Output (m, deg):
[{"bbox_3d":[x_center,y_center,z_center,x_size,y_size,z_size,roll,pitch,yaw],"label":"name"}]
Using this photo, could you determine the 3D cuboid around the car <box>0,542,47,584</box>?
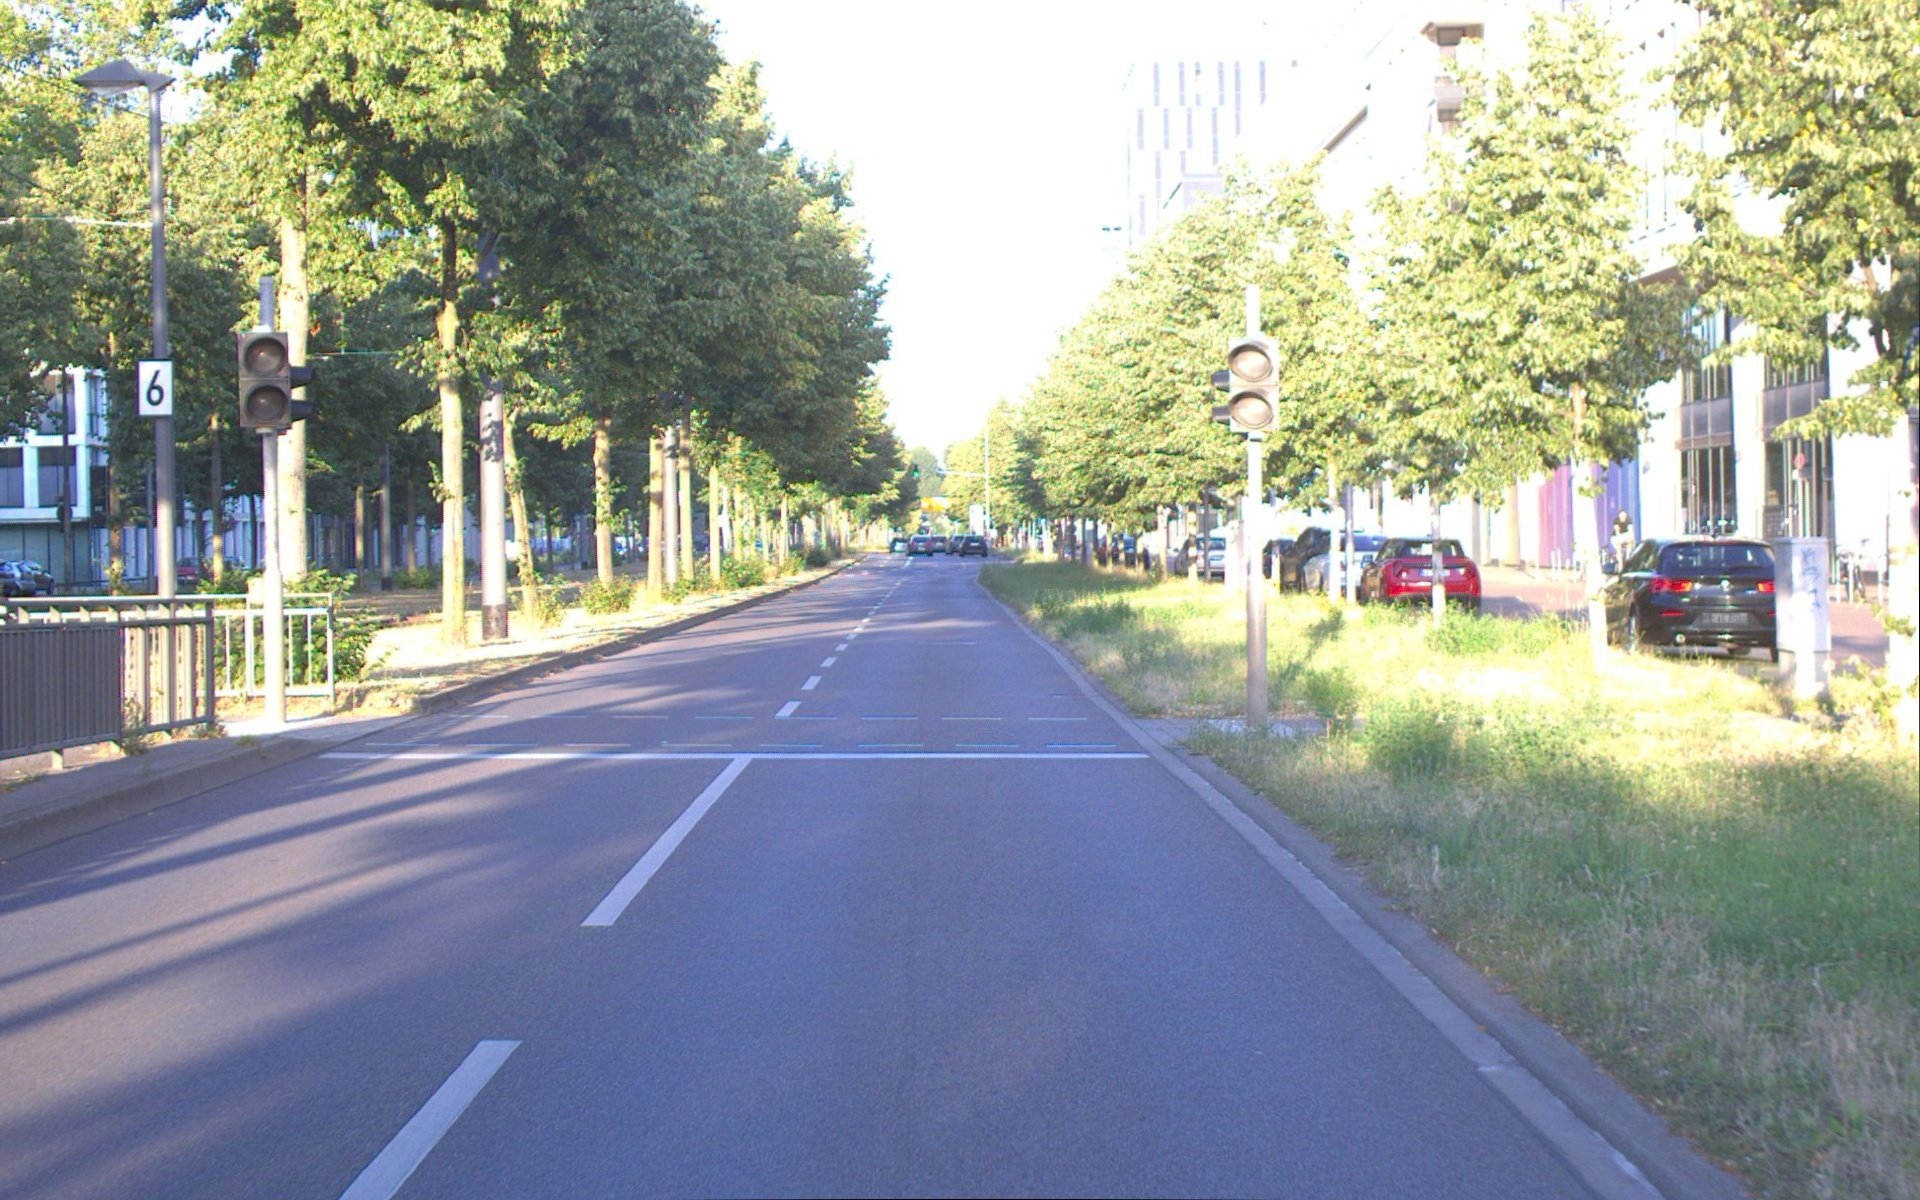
[{"bbox_3d":[-38.869,-1.460,137.985,3.986,1.634,1.922,-1,1,-3],"label":"car"}]

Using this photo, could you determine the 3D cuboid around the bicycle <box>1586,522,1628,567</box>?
[{"bbox_3d":[15.350,-1.313,81.646,0.533,1.056,1.613,-1,1,-6],"label":"bicycle"}]

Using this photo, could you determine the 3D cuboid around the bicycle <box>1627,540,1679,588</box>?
[{"bbox_3d":[15.249,-0.803,75.672,0.620,1.029,2.261,-1,1,-2],"label":"bicycle"}]

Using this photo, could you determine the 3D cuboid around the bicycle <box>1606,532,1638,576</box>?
[{"bbox_3d":[16.956,-1.188,88.051,0.543,1.114,1.913,-1,1,3],"label":"bicycle"}]

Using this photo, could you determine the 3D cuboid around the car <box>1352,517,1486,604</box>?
[{"bbox_3d":[8.293,-0.741,62.397,1.808,1.495,3.960,-1,1,-1],"label":"car"}]

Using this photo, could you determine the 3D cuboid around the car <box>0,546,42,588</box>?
[{"bbox_3d":[-38.358,-1.283,135.336,3.986,1.634,1.922,-1,1,-3],"label":"car"}]

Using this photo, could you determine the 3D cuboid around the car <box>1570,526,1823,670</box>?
[{"bbox_3d":[8.191,-0.070,38.602,1.808,1.495,4.369,-1,1,-1],"label":"car"}]

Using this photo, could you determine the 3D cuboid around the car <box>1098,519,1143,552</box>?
[{"bbox_3d":[7.573,-3.046,162.330,1.854,1.524,4.483,1,1,-1],"label":"car"}]

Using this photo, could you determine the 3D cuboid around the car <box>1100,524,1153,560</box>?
[{"bbox_3d":[7.508,-2.622,155.083,1.943,1.543,4.812,-1,1,-2],"label":"car"}]

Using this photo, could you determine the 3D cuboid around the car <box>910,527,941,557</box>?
[{"bbox_3d":[-2.443,-4.065,240.376,2.087,2.007,4.000,-1,1,-1],"label":"car"}]

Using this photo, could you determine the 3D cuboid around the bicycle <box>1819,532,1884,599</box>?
[{"bbox_3d":[15.582,-0.608,60.095,0.546,1.124,1.869,-2,1,-2],"label":"bicycle"}]

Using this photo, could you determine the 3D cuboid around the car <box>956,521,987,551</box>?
[{"bbox_3d":[0.783,-4.359,232.782,1.993,2.007,4.000,-1,1,-1],"label":"car"}]

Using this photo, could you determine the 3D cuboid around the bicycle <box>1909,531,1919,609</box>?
[{"bbox_3d":[15.480,-0.471,53.978,0.617,1.227,1.671,-1,1,-2],"label":"bicycle"}]

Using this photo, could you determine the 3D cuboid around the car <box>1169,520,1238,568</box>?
[{"bbox_3d":[7.854,-1.821,111.185,1.808,1.495,4.826,-1,1,-1],"label":"car"}]

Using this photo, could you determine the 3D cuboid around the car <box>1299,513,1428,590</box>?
[{"bbox_3d":[8.183,-1.021,70.116,1.920,1.495,5.010,-1,1,-1],"label":"car"}]

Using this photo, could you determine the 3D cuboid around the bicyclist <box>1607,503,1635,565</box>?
[{"bbox_3d":[16.949,-1.692,88.116,0.544,1.563,1.020,-1,1,3],"label":"bicyclist"}]

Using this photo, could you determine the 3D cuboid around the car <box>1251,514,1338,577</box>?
[{"bbox_3d":[8.224,-1.364,84.887,1.724,1.495,4.233,0,1,0],"label":"car"}]
